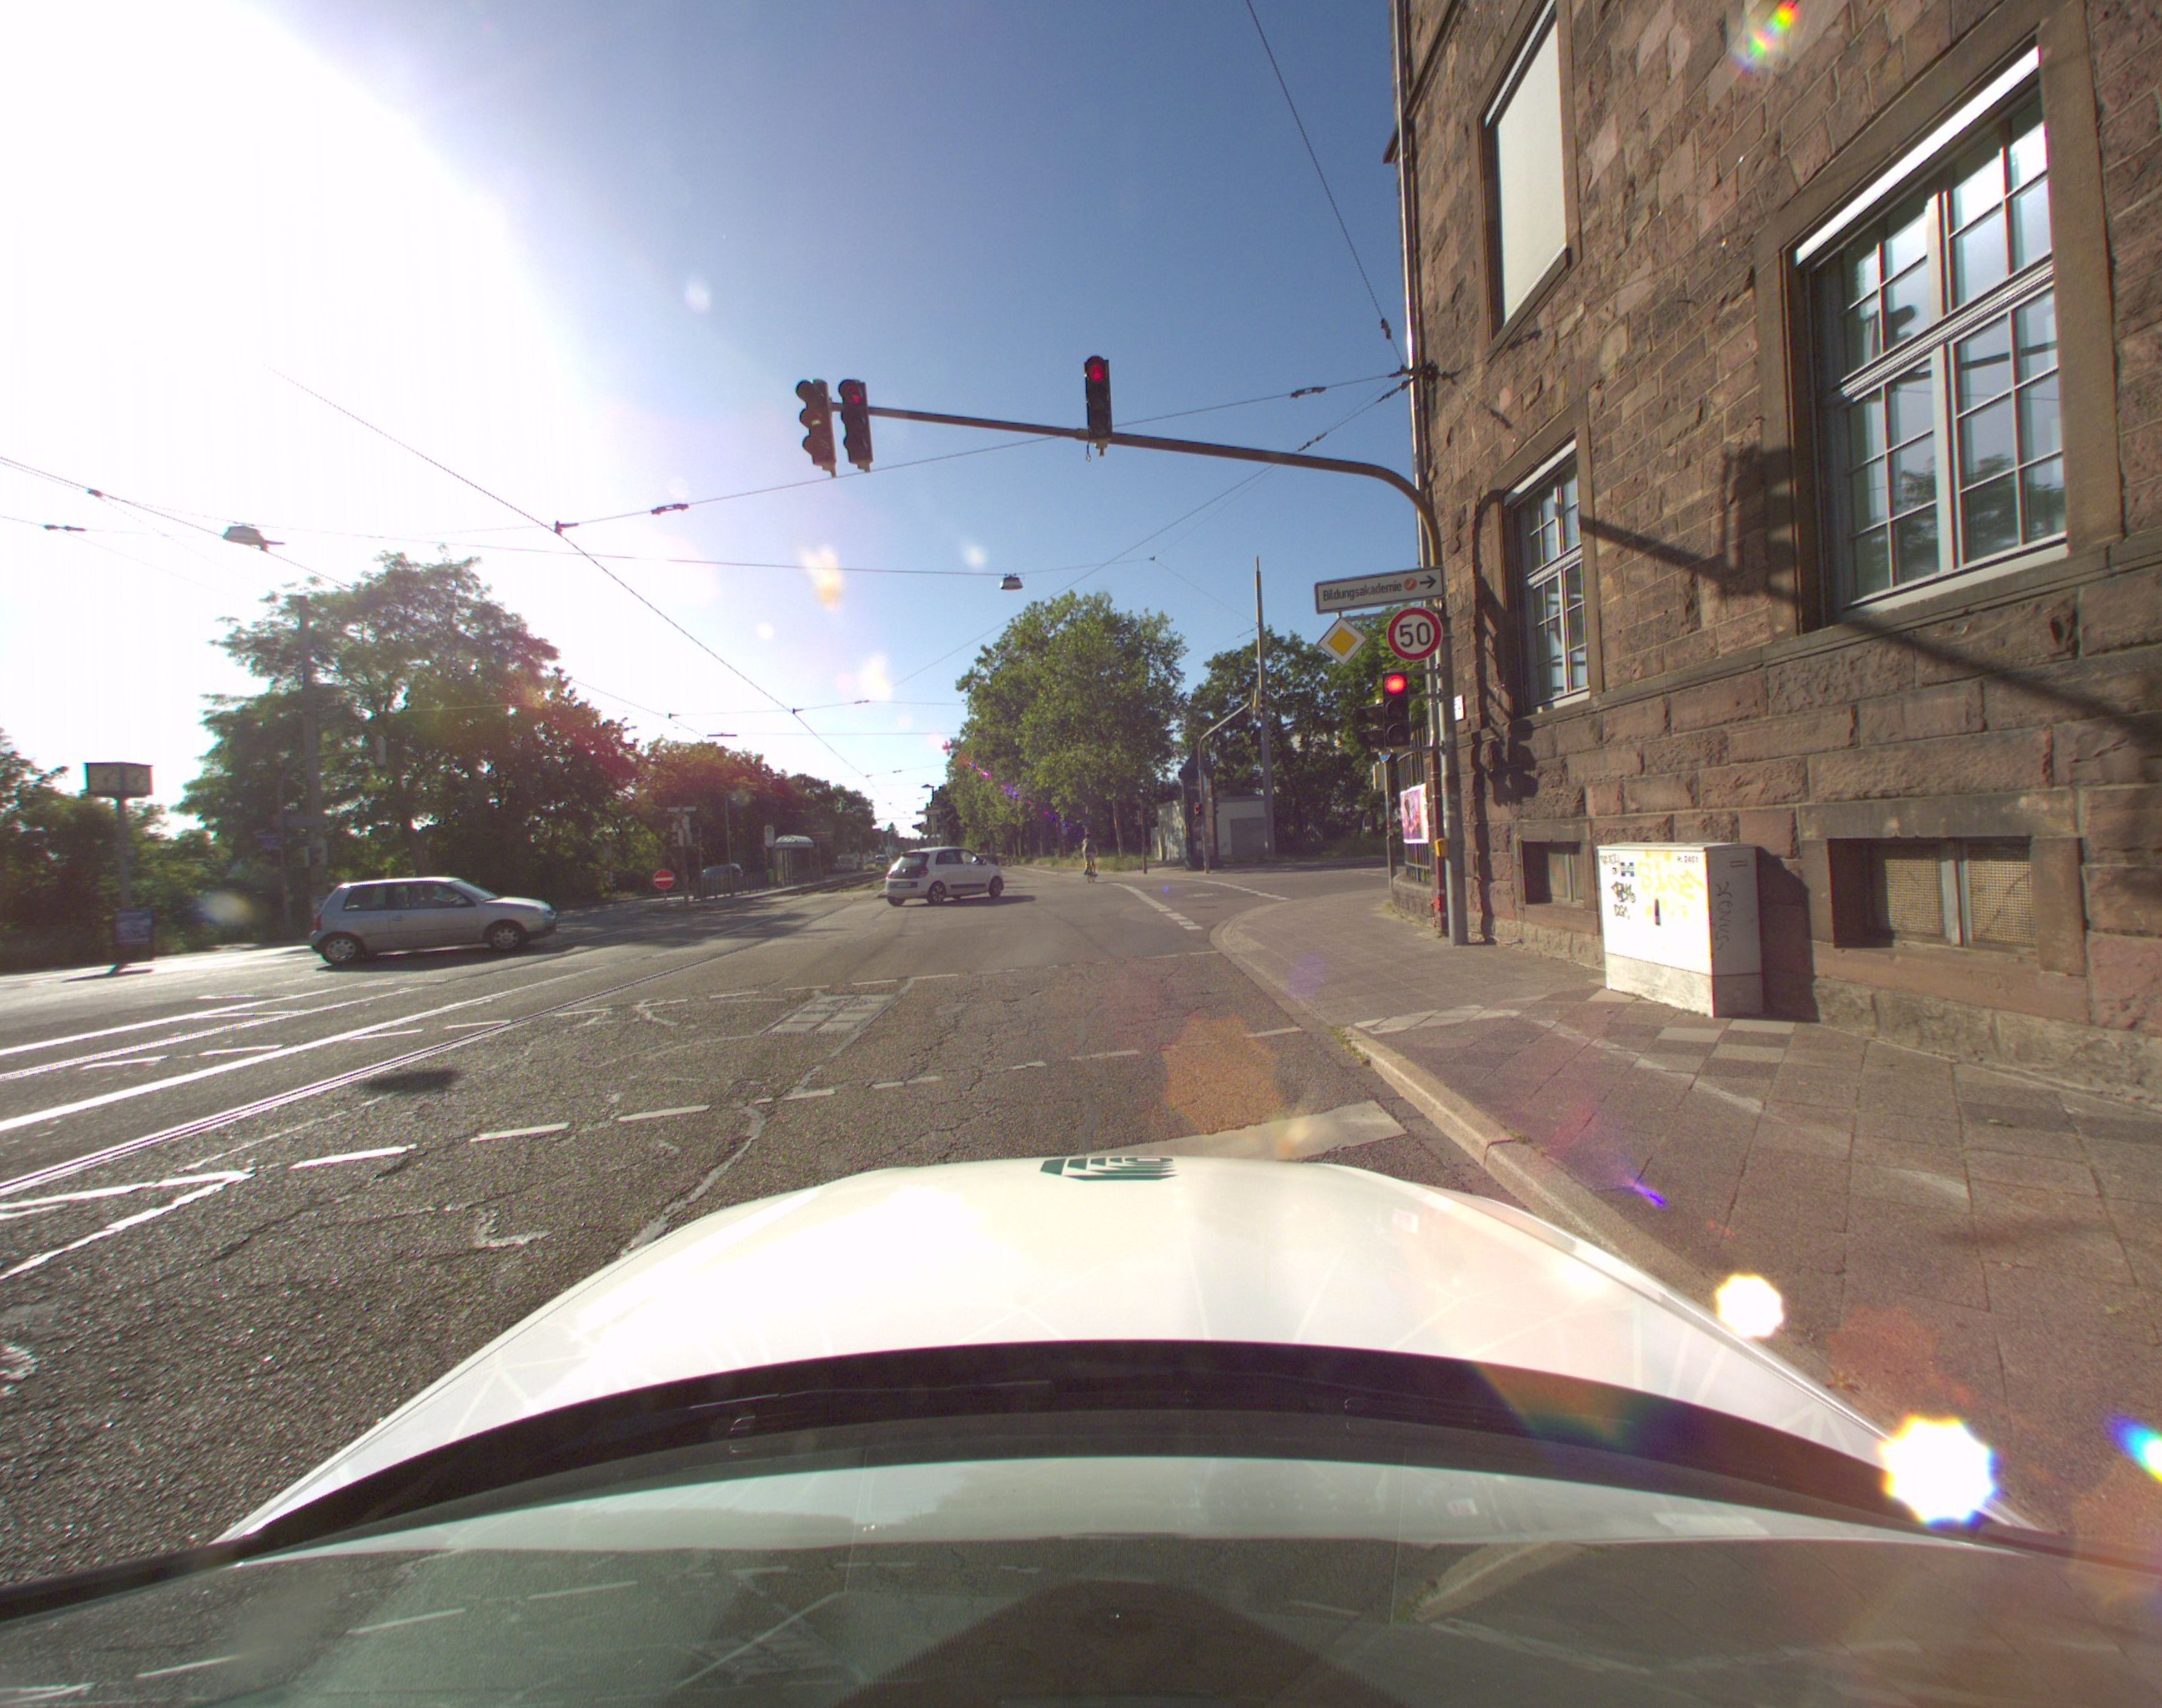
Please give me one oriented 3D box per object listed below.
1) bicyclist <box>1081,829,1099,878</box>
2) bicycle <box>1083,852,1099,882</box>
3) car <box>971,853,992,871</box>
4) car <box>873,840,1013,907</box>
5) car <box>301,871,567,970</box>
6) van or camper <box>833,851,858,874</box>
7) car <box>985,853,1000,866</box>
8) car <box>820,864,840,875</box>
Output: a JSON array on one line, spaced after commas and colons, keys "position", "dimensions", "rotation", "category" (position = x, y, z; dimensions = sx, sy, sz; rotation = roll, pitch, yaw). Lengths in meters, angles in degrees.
[{"position": [0.332, -0.014, 30.389], "dimensions": [0.532, 1.769, 0.713], "rotation": [-4, 0, 0], "category": "bicyclist"}, {"position": [0.359, 0.479, 30.350], "dimensions": [0.534, 1.066, 1.433], "rotation": [-4, 0, 0], "category": "bicycle"}, {"position": [-9.408, 0.721, 76.870], "dimensions": [1.750, 1.604, 3.569], "rotation": [-4, 1, -9], "category": "car"}, {"position": [-3.806, 0.517, 23.054], "dimensions": [1.733, 1.604, 3.774], "rotation": [-3, 1, 33], "category": "car"}, {"position": [-11.946, 1.156, 15.371], "dimensions": [3.564, 1.486, 1.857], "rotation": [-3, 0, -28], "category": "car"}, {"position": [-35.846, 1.261, 124.219], "dimensions": [2.589, 3.106, 6.768], "rotation": [-4, 0, -9], "category": "van or camper"}, {"position": [-11.689, 0.743, 107.236], "dimensions": [1.750, 1.604, 3.569], "rotation": [-4, 1, -9], "category": "car"}, {"position": [-34.400, 2.122, 111.706], "dimensions": [1.919, 1.266, 3.991], "rotation": [-4, 0, -7], "category": "car"}]
